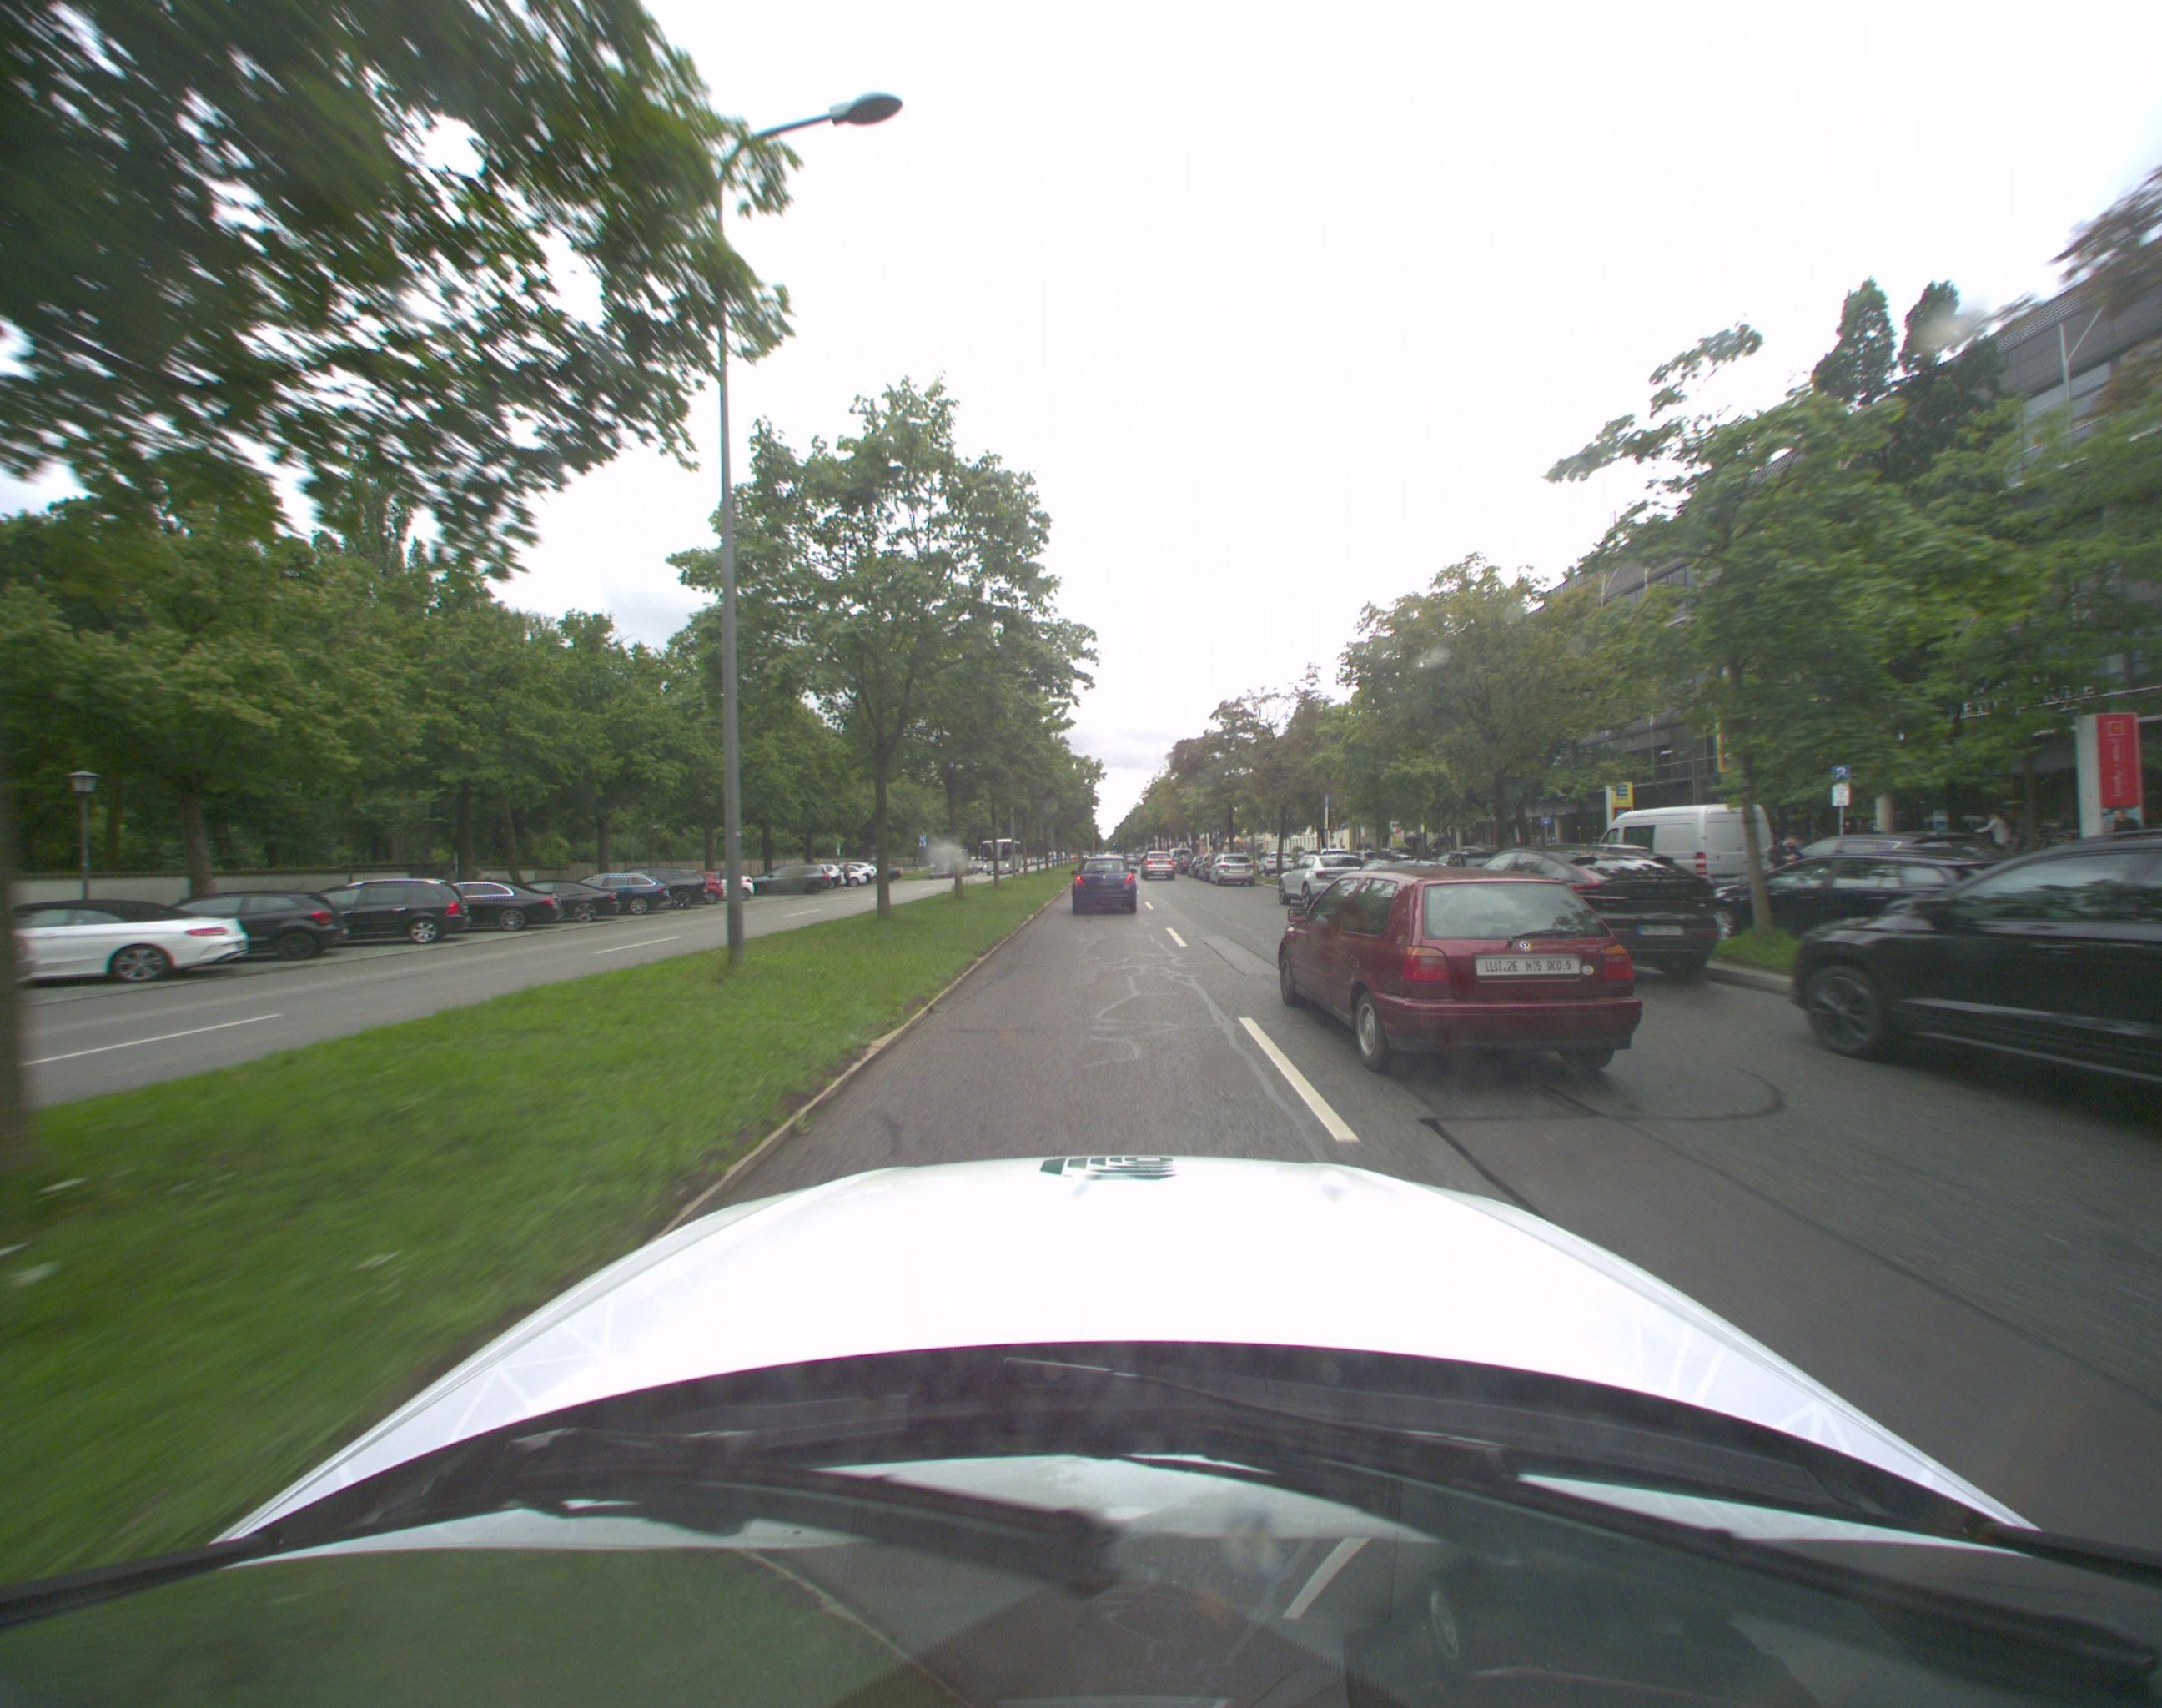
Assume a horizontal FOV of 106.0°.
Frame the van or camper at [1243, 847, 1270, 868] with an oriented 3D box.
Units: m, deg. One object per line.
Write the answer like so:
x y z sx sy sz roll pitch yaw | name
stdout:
17.171 0.367 79.824 1.937 1.975 4.309 -2 0 3 | van or camper

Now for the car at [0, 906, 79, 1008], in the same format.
-17.085 1.531 11.028 4.015 1.354 1.831 -2 0 -33 | car

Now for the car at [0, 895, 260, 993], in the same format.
-17.276 1.527 14.073 4.059 1.381 1.657 -2 0 -34 | car

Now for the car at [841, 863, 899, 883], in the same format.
-16.500 1.454 63.687 4.122 1.474 1.688 -1 -1 -32 | car

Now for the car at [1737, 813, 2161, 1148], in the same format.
6.213 0.601 4.577 1.714 1.651 4.394 -2 0 4 | car

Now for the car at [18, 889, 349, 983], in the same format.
-17.826 1.542 16.562 4.263 1.422 1.897 -2 0 -40 | car

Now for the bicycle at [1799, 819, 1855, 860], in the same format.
29.257 -0.577 31.932 2.625 1.508 0.791 -2 0 -28 | bicycle

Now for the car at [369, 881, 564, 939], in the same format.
-17.243 1.521 23.151 4.217 1.322 1.900 -2 0 -32 | car

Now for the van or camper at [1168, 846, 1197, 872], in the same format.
8.360 0.398 67.394 1.937 1.975 4.309 -2 0 3 | van or camper

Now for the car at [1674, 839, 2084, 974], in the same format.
10.511 0.594 11.241 1.742 1.479 4.009 -2 0 0 | car

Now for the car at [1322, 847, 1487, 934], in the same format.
6.516 0.661 16.962 1.758 1.546 4.425 -1 0 1 | car

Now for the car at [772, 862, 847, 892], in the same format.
-16.992 1.398 51.035 4.122 1.695 1.900 -2 0 -32 | car

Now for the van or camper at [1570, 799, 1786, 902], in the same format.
16.977 -0.094 23.703 2.016 2.558 5.959 -2 0 2 | van or camper

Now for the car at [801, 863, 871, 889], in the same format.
-16.444 1.441 54.662 4.122 1.585 1.900 -2 0 -32 | car

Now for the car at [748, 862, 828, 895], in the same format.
-17.146 1.410 47.678 4.122 1.695 1.900 -2 0 -32 | car

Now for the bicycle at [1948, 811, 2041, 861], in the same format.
29.404 -0.586 26.225 2.612 1.508 0.795 -2 0 -12 | bicycle

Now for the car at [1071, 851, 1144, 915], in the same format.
0.669 0.739 22.457 1.783 1.555 4.000 -2 0 0 | car

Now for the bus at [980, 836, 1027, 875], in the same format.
-7.508 0.147 80.639 2.727 3.377 12.020 -3 0 3 | bus

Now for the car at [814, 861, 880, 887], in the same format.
-16.567 1.367 57.691 4.122 1.652 1.900 -2 0 -32 | car

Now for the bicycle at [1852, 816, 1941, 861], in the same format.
29.108 -0.563 29.070 2.607 1.508 0.796 -2 0 -8 | bicycle

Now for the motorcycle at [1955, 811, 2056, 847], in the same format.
33.177 -0.885 29.294 0.942 1.197 2.368 -2 0 1 | motorcycle

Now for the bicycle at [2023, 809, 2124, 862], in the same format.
29.753 -0.558 24.413 2.612 1.508 0.795 -2 0 -12 | bicycle

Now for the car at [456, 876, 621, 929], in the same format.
-17.215 1.487 26.086 4.213 1.410 1.900 -2 0 -32 | car

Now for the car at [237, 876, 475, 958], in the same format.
-17.322 1.432 19.767 4.127 1.597 1.897 -2 0 -38 | car

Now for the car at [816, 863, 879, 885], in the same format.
-17.290 1.469 60.268 4.122 1.474 1.900 -2 0 -32 | car

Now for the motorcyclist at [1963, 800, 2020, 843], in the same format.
33.166 -1.171 29.691 0.938 1.477 0.985 -2 0 0 | motorcyclist

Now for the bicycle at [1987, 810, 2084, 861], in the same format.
29.647 -0.573 25.304 2.612 1.508 0.795 -2 0 -12 | bicycle

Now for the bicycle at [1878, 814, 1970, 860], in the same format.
29.186 -0.588 28.198 2.607 1.508 0.796 -2 0 -8 | bicycle

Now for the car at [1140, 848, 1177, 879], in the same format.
4.604 0.569 48.973 1.844 1.743 4.097 -2 0 0 | car

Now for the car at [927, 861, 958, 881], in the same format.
-12.210 1.479 72.052 1.907 1.542 4.187 -2 0 0 | car

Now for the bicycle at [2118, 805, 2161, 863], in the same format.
29.397 -0.554 22.073 2.618 1.508 0.793 -2 0 -20 | bicycle

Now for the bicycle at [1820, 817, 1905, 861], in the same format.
29.003 -0.548 30.223 2.607 1.508 0.796 -2 0 -8 | bicycle

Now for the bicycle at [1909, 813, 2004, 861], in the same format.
29.324 -0.571 27.288 2.607 1.508 0.796 -2 0 -8 | bicycle
